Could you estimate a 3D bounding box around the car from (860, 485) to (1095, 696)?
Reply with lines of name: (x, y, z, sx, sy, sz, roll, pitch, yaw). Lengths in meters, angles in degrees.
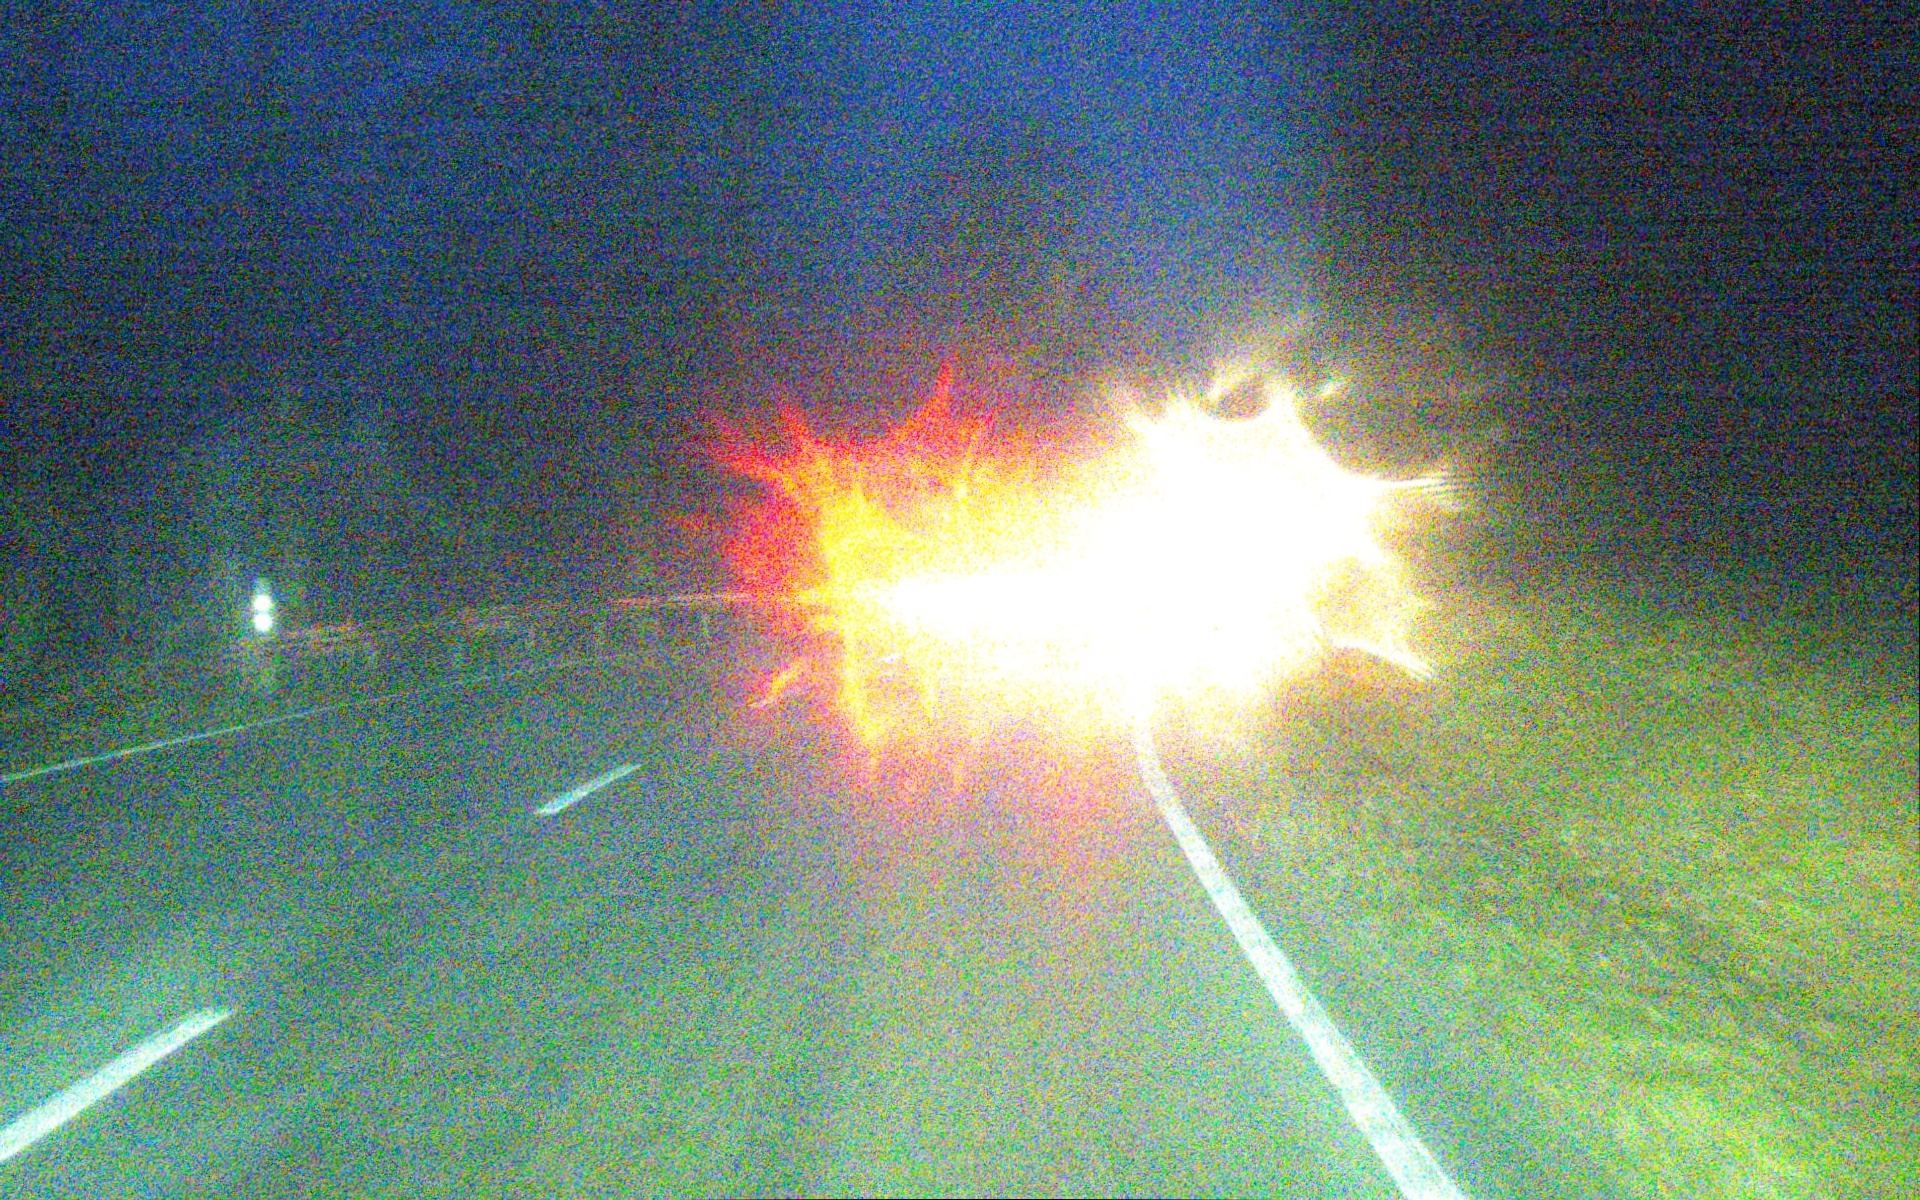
car: (0.235, -0.146, 32.899, 1.994, 1.800, 3.917, -3, 2, 3)
